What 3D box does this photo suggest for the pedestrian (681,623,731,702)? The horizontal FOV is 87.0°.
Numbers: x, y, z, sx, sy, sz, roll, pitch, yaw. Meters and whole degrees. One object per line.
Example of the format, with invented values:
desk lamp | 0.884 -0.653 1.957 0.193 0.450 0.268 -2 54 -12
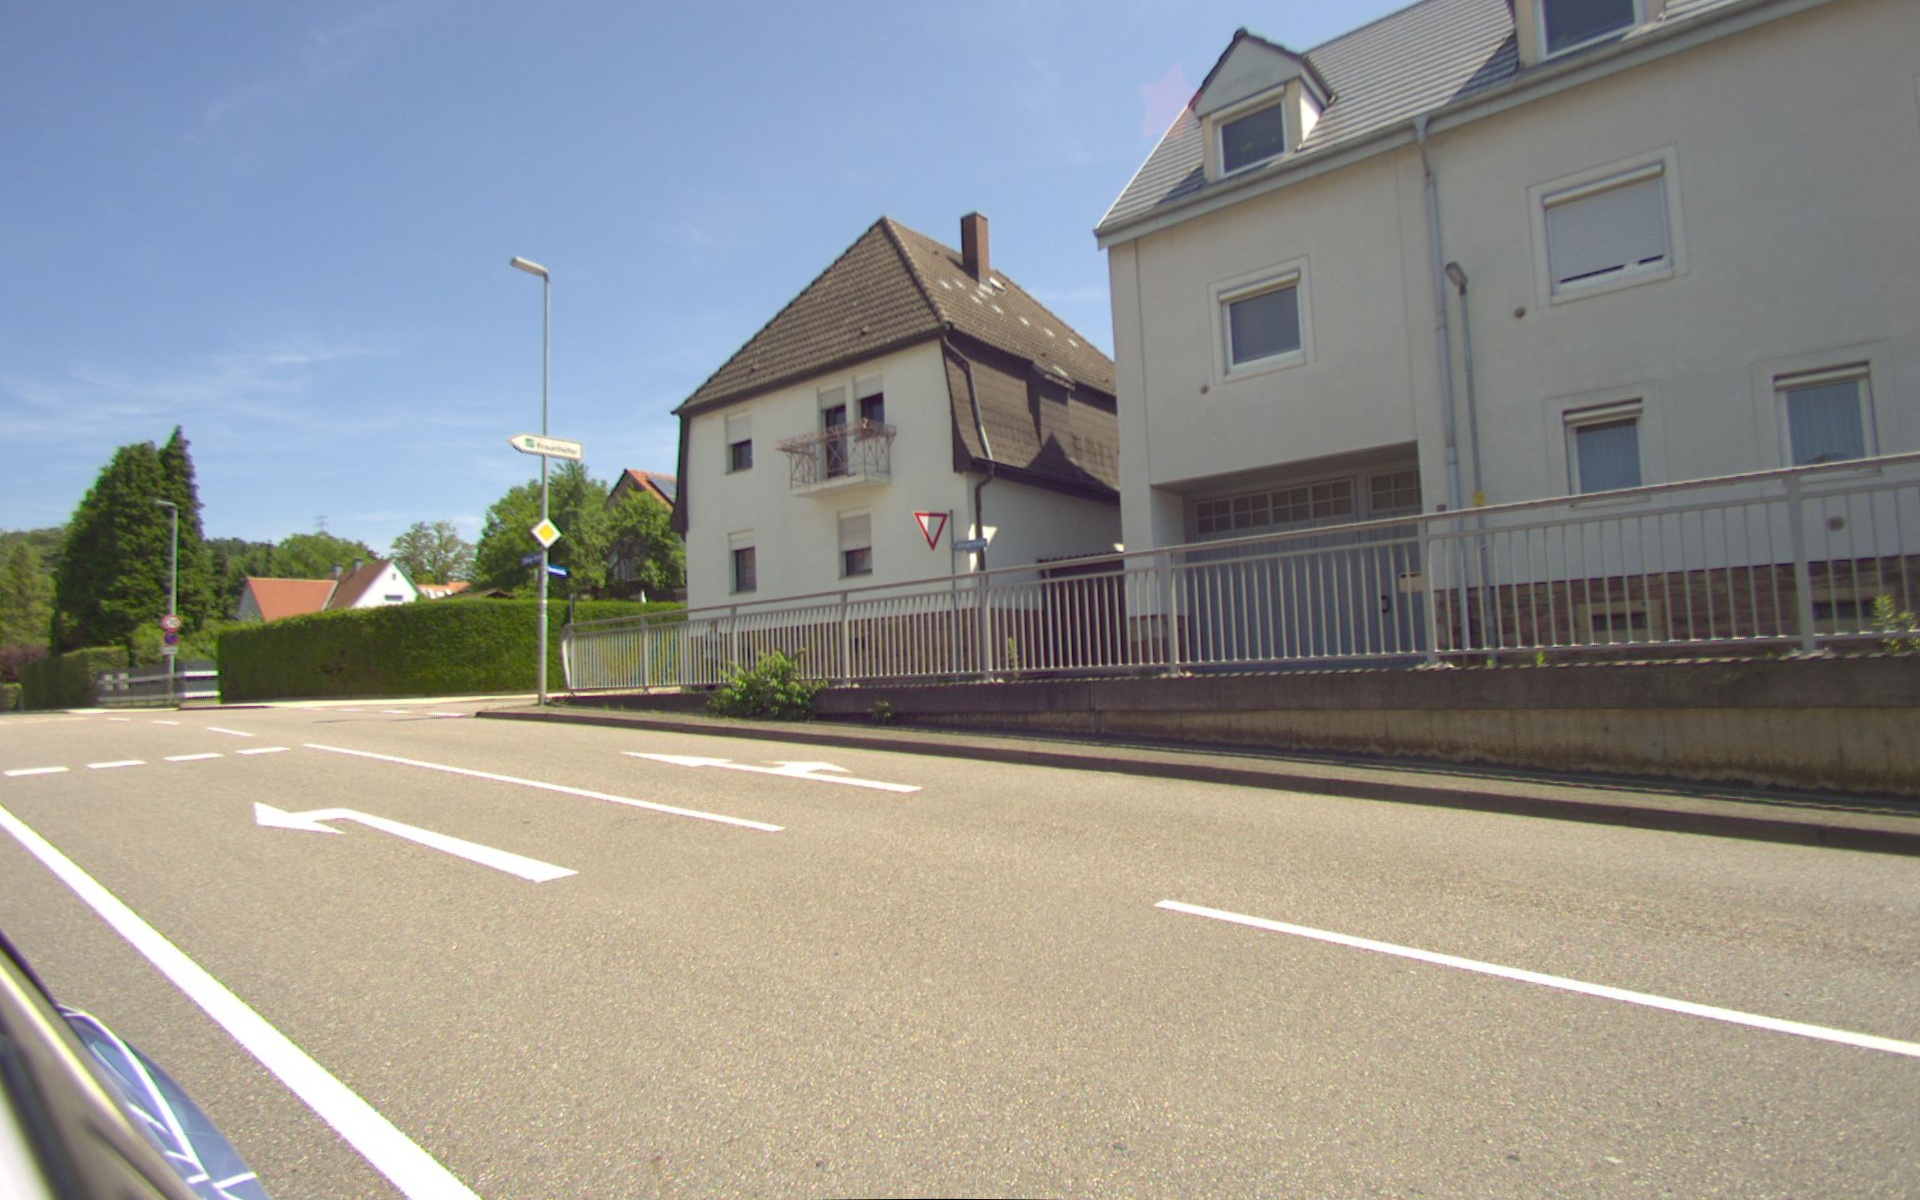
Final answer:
pedestrian | -5.824 1.414 23.173 0.855 1.742 0.720 -3 -2 38
